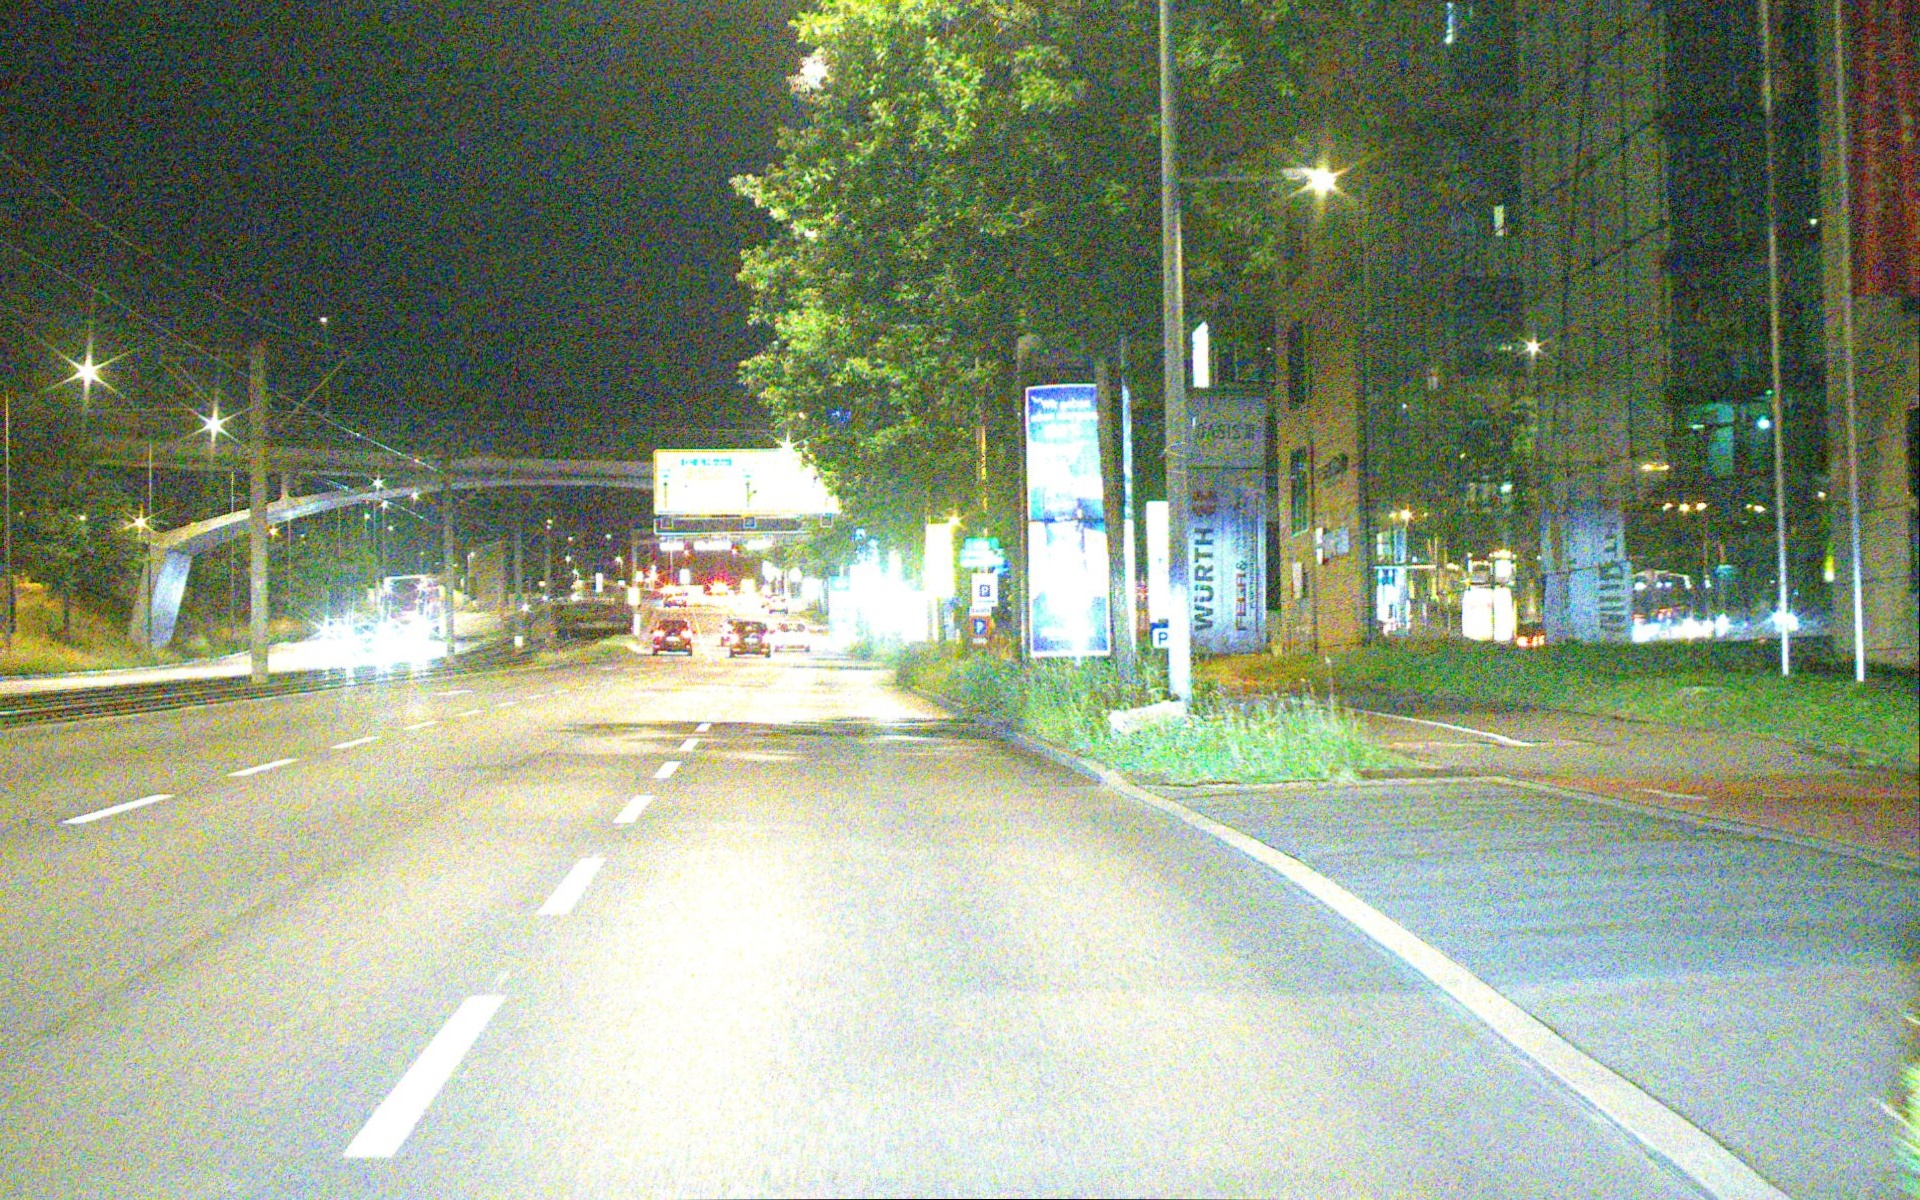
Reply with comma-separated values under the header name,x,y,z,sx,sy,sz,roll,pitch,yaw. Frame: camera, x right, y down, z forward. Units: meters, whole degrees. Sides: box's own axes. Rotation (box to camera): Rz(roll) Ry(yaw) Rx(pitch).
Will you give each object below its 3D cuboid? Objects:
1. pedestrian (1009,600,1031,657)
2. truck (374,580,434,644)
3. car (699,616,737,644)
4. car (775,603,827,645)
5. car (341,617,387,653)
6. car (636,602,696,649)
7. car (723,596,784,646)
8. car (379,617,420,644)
name,x,y,z,sx,sy,sz,roll,pitch,yaw
pedestrian,2.181,1.048,124.922,0.762,2.056,0.643,0,0,-3
truck,-33.792,0.702,209.113,3.040,3.806,4.935,0,0,-2
car,-13.325,1.639,189.507,1.993,1.548,4.000,0,0,-3
car,-8.155,1.203,176.563,2.427,2.106,4.826,0,0,0
car,-29.826,1.731,172.205,1.863,1.744,3.702,0,0,-3
car,-13.228,1.135,154.981,2.262,2.007,4.826,0,0,0
car,-8.954,0.889,149.493,2.356,2.122,4.826,0,0,0
car,-31.725,1.703,194.646,1.910,1.469,3.772,0,0,-3
